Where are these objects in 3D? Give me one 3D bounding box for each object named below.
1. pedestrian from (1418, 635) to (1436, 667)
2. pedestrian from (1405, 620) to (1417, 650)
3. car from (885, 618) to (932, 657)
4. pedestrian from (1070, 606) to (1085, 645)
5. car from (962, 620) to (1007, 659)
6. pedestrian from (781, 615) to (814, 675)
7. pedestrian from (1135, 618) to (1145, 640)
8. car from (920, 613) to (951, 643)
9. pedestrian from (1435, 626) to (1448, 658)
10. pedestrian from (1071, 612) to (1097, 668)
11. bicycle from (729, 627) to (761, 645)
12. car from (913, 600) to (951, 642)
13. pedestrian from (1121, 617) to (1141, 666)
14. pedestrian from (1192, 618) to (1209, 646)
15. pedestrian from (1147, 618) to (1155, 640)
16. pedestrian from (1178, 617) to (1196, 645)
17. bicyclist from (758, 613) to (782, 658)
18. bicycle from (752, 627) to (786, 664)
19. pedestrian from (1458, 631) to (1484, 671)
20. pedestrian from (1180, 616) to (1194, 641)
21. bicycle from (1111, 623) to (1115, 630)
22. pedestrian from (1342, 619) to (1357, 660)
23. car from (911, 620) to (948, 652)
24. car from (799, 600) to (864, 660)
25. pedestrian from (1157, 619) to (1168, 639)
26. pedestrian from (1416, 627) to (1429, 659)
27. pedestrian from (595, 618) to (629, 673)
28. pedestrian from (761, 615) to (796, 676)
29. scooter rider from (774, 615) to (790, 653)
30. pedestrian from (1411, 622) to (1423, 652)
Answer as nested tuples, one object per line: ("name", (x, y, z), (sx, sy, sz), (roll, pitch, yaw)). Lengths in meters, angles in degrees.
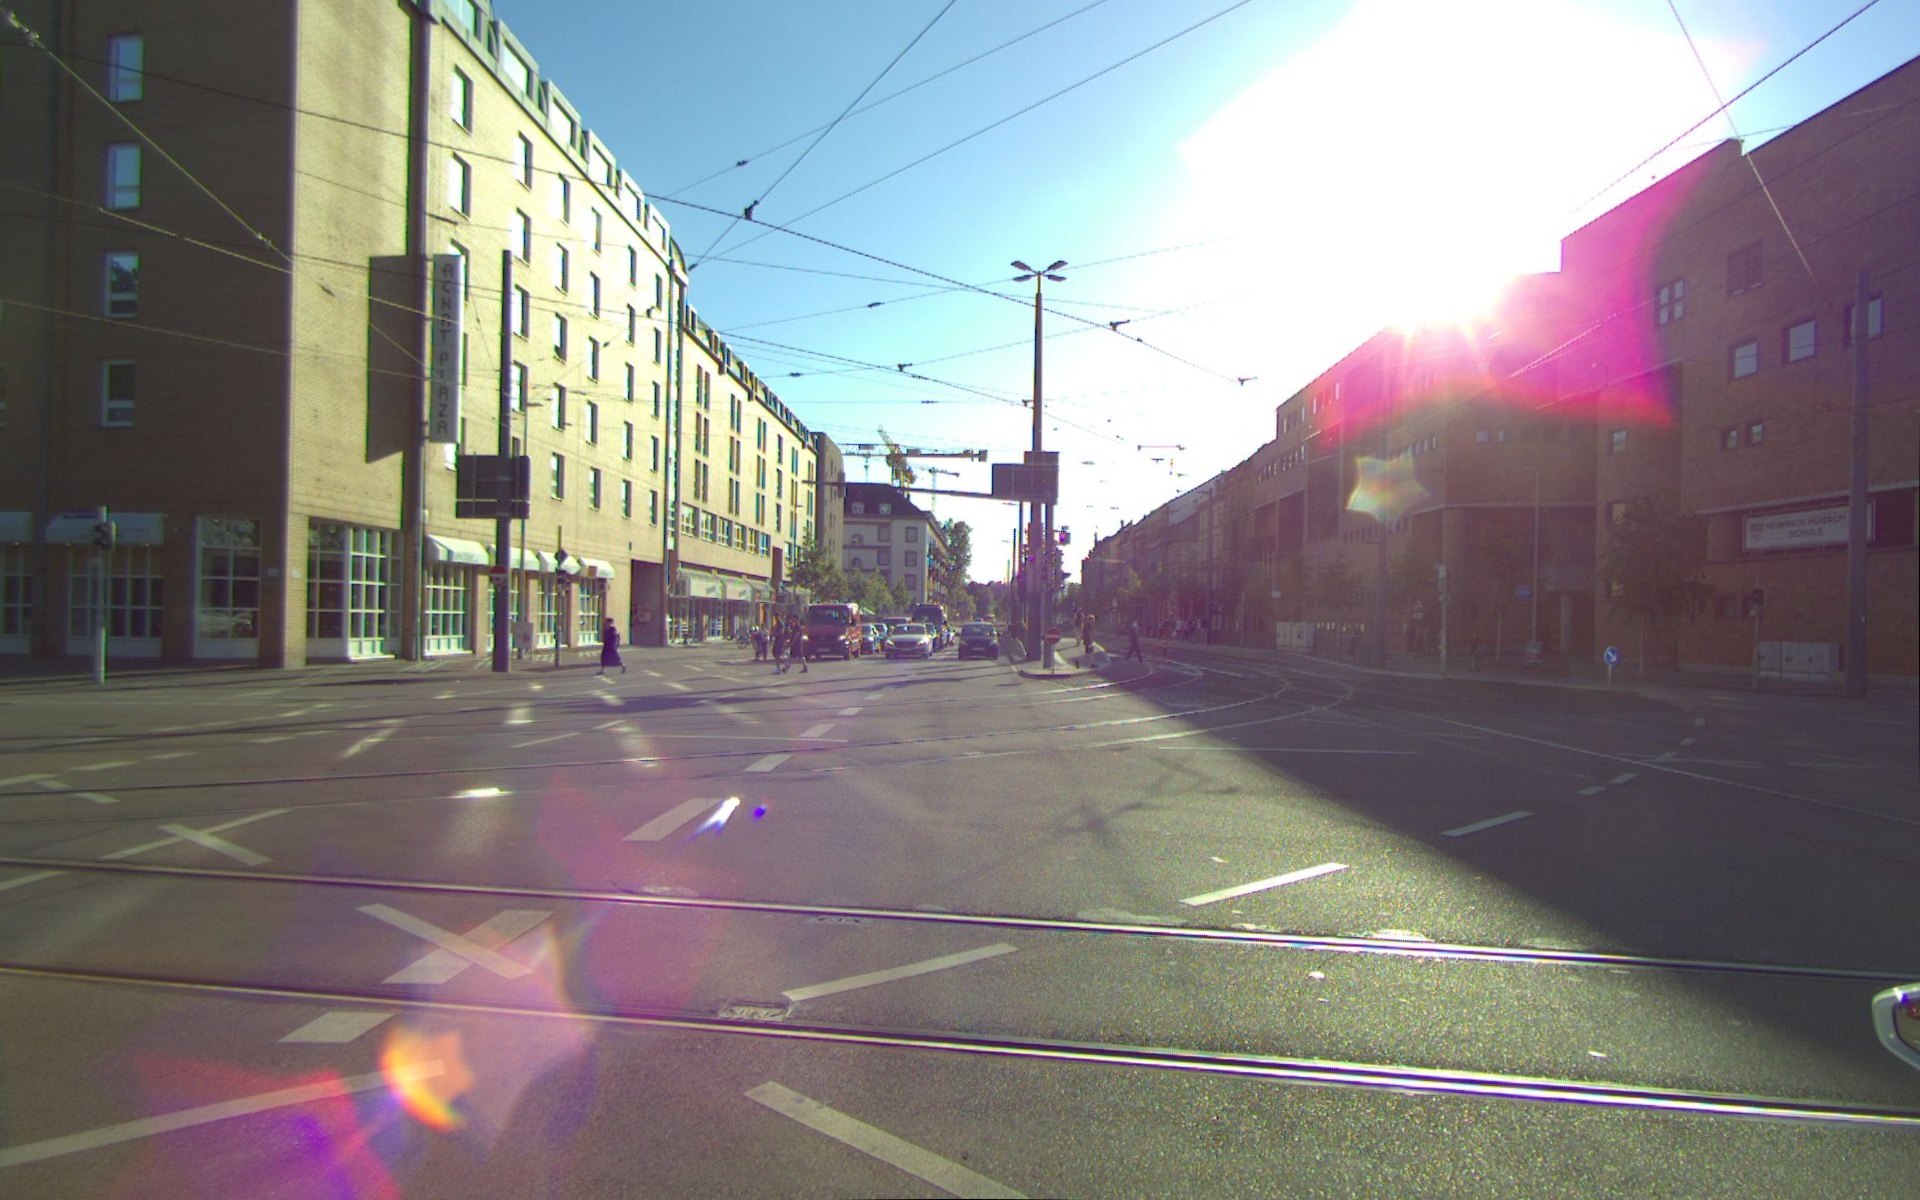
("pedestrian", (26.676, 2.923, 57.399), (0.720, 1.779, 0.696), (1, -1, 8))
("pedestrian", (26.615, 2.060, 59.301), (0.527, 1.779, 0.465), (1, -1, 0))
("car", (-2.208, 1.607, 43.774), (1.855, 1.553, 4.000), (1, 0, 0))
("pedestrian", (5.281, 1.150, 45.126), (0.665, 1.706, 0.576), (1, -1, 6))
("car", (0.990, 1.620, 42.374), (1.728, 1.467, 4.000), (1, 0, 0))
("pedestrian", (-4.852, 1.333, 30.003), (0.630, 1.740, 0.777), (0, -1, 29))
("pedestrian", (14.617, 2.335, 81.724), (0.707, 1.755, 0.651), (1, -1, 1))
("car", (-1.653, 1.867, 67.978), (1.854, 1.892, 4.316), (1, 0, 1))
("pedestrian", (27.526, 2.405, 57.437), (0.527, 1.779, 0.696), (1, -1, 12))
("pedestrian", (3.890, 1.248, 31.631), (0.613, 1.724, 0.748), (1, -1, -10))
("bicycle", (-12.198, 2.030, 56.910), (1.696, 0.993, 0.641), (0, -1, 20))
("car", (-1.614, 1.246, 59.612), (2.011, 2.389, 4.921), (1, -1, 1))
("pedestrian", (6.187, 1.494, 36.325), (0.628, 1.740, 0.778), (1, -1, 12))
("pedestrian", (14.578, 1.928, 60.925), (0.873, 1.694, 0.672), (1, -1, 0))
("pedestrian", (15.639, 2.351, 82.289), (0.496, 1.755, 0.651), (1, -1, 1))
("pedestrian", (14.340, 1.956, 63.480), (0.873, 1.694, 1.096), (1, -1, 0))
("bicyclist", (-7.790, 1.455, 41.161), (0.801, 1.810, 0.816), (1, -1, 0))
("bicycle", (-7.781, 1.843, 41.003), (0.914, 1.461, 2.104), (1, -1, 1))
("pedestrian", (20.545, 2.052, 40.369), (0.701, 1.559, 0.852), (1, -1, 10))
("pedestrian", (13.833, 1.758, 61.253), (0.671, 1.503, 0.829), (1, -1, 2))
("bicycle", (32.402, 5.618, 212.845), (0.650, 1.421, 2.352), (1, 0, 1))
("pedestrian", (15.321, 1.549, 39.518), (0.481, 1.559, 0.551), (0, -1, 16))
("car", (-1.572, 1.849, 52.793), (1.855, 1.553, 4.000), (1, 0, 0))
("car", (-5.296, 1.256, 42.039), (2.044, 2.319, 5.265), (1, -1, 0))
("pedestrian", (15.826, 2.274, 78.440), (0.661, 1.582, 0.906), (1, -1, 1))
("pedestrian", (26.842, 2.487, 58.259), (0.527, 1.779, 0.696), (1, -1, 12))
("pedestrian", (-10.123, 1.326, 29.180), (0.857, 1.574, 0.542), (1, -1, -25))
("pedestrian", (-5.283, 1.305, 29.287), (0.630, 1.740, 0.777), (0, -1, 29))
("scooter rider", (-8.388, 1.617, 47.333), (0.524, 1.778, 0.570), (0, -1, 26))
("pedestrian", (27.271, 2.180, 59.897), (0.527, 1.779, 0.422), (1, -1, 4))
